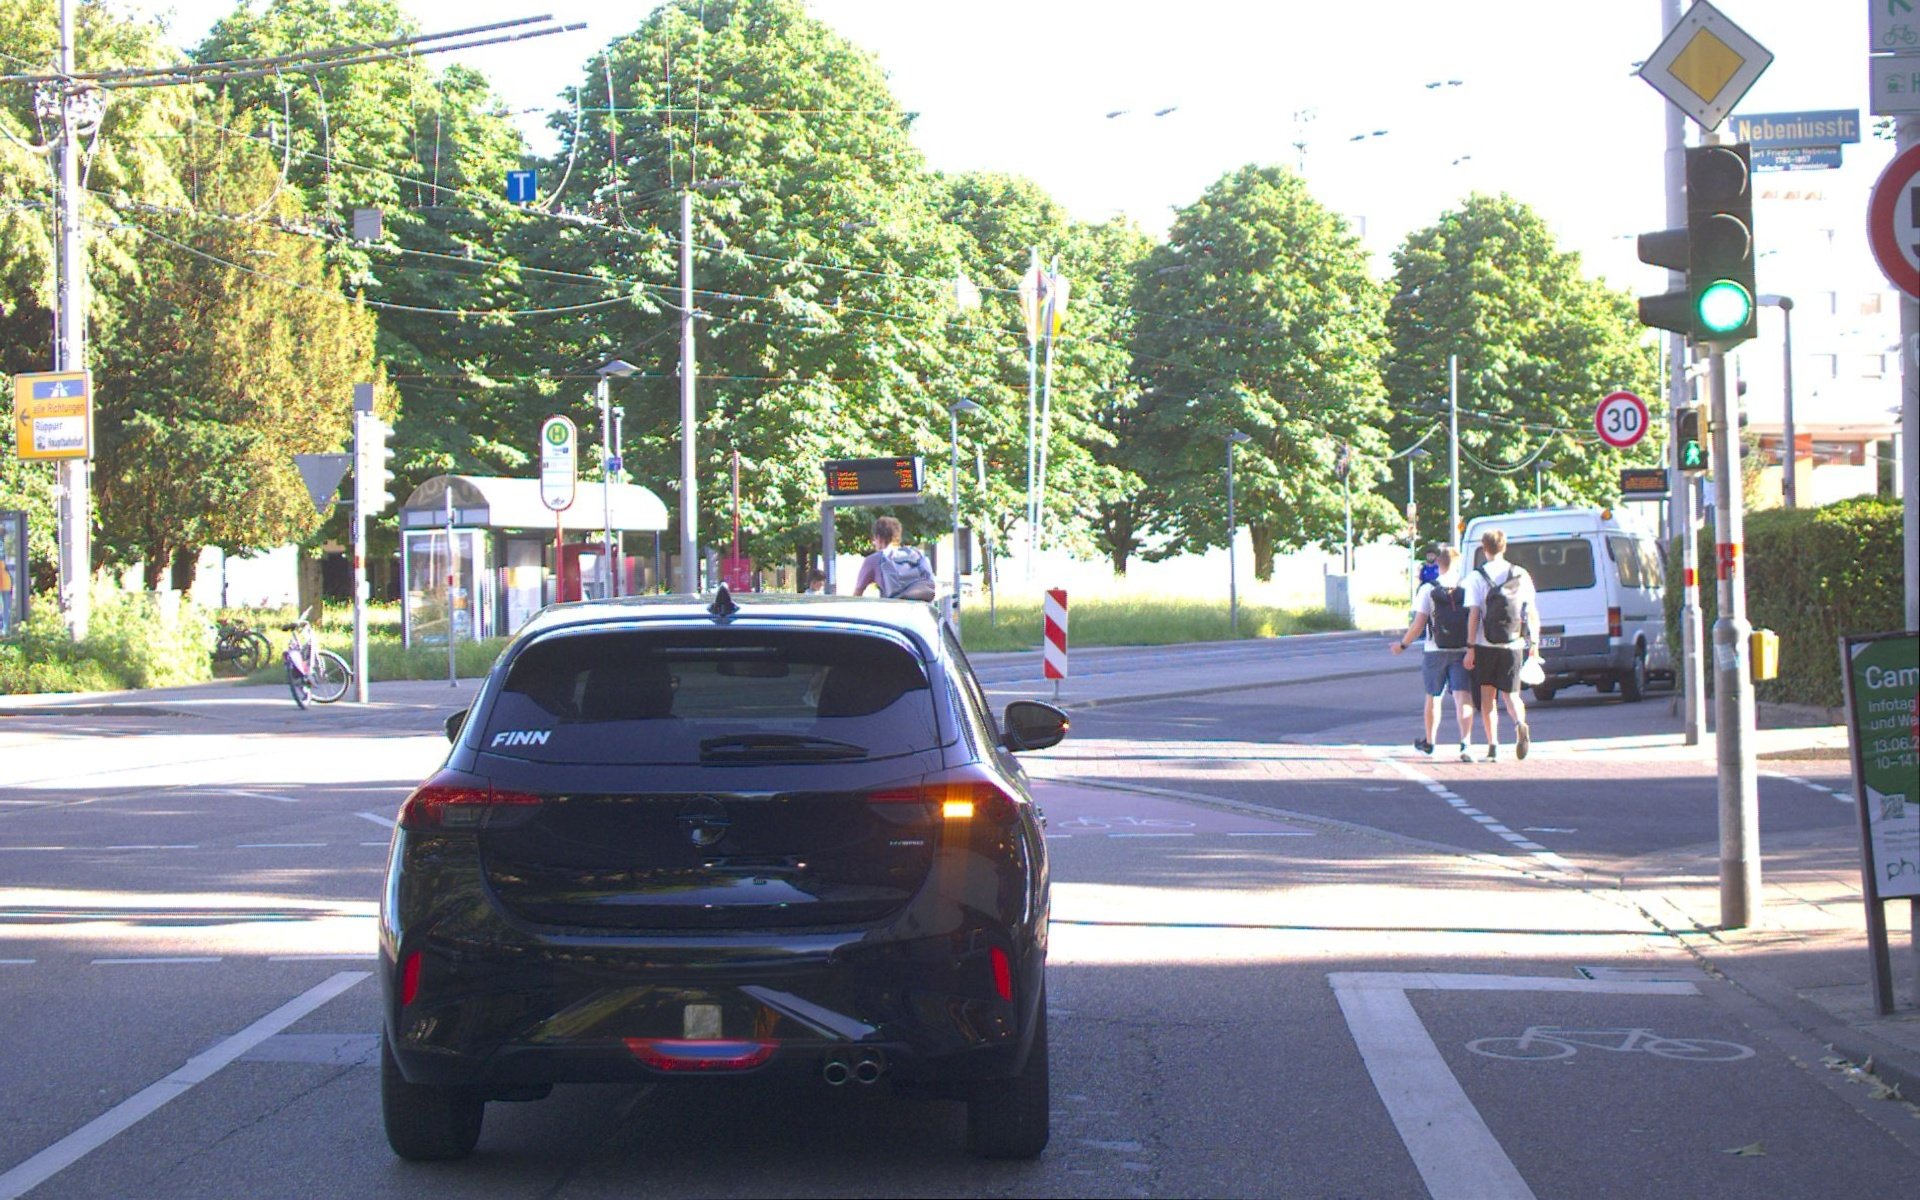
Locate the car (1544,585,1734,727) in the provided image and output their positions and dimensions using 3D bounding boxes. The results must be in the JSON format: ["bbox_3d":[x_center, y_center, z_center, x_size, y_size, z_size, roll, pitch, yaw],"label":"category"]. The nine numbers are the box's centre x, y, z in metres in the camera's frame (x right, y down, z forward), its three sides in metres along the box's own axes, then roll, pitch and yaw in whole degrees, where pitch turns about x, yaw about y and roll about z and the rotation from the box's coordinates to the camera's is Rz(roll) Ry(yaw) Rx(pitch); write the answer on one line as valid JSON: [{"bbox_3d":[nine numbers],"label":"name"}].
[{"bbox_3d":[9.009,0.711,45.414,1.802,1.757,3.887,-1,0,21],"label":"car"}]

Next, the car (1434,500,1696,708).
[{"bbox_3d":[7.066,0.064,39.793,2.092,2.270,4.301,0,-1,22],"label":"car"}]

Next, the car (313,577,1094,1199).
[{"bbox_3d":[-0.609,0.663,9.985,1.800,1.436,3.940,-1,0,0],"label":"car"}]

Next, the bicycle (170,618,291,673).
[{"bbox_3d":[-12.334,0.764,58.151,1.877,0.903,0.659,-1,0,6],"label":"bicycle"}]

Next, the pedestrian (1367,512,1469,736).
[{"bbox_3d":[3.708,0.189,27.865,0.698,1.786,0.617,-1,0,-2],"label":"pedestrian"}]

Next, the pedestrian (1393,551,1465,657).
[{"bbox_3d":[8.019,0.070,58.768,0.959,1.787,0.994,-1,0,24],"label":"pedestrian"}]

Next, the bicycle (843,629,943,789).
[{"bbox_3d":[-0.493,0.754,24.549,0.667,1.056,2.082,-1,0,-2],"label":"bicycle"}]

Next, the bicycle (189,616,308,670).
[{"bbox_3d":[-12.215,0.741,59.025,1.877,0.903,0.659,-1,0,6],"label":"bicycle"}]

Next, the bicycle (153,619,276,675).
[{"bbox_3d":[-12.397,0.777,57.164,1.877,0.903,0.659,-1,0,6],"label":"bicycle"}]

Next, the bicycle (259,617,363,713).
[{"bbox_3d":[-7.549,0.743,40.062,0.825,1.056,1.883,-1,0,1],"label":"bicycle"}]

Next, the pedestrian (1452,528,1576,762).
[{"bbox_3d":[4.429,0.349,27.485,0.704,1.840,0.699,-1,0,38],"label":"pedestrian"}]

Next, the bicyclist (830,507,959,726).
[{"bbox_3d":[-0.480,0.110,24.488,0.840,1.505,1.369,-1,0,-4],"label":"bicyclist"}]

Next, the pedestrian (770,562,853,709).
[{"bbox_3d":[-1.723,0.406,39.924,0.726,1.687,0.700,-1,0,20],"label":"pedestrian"}]
